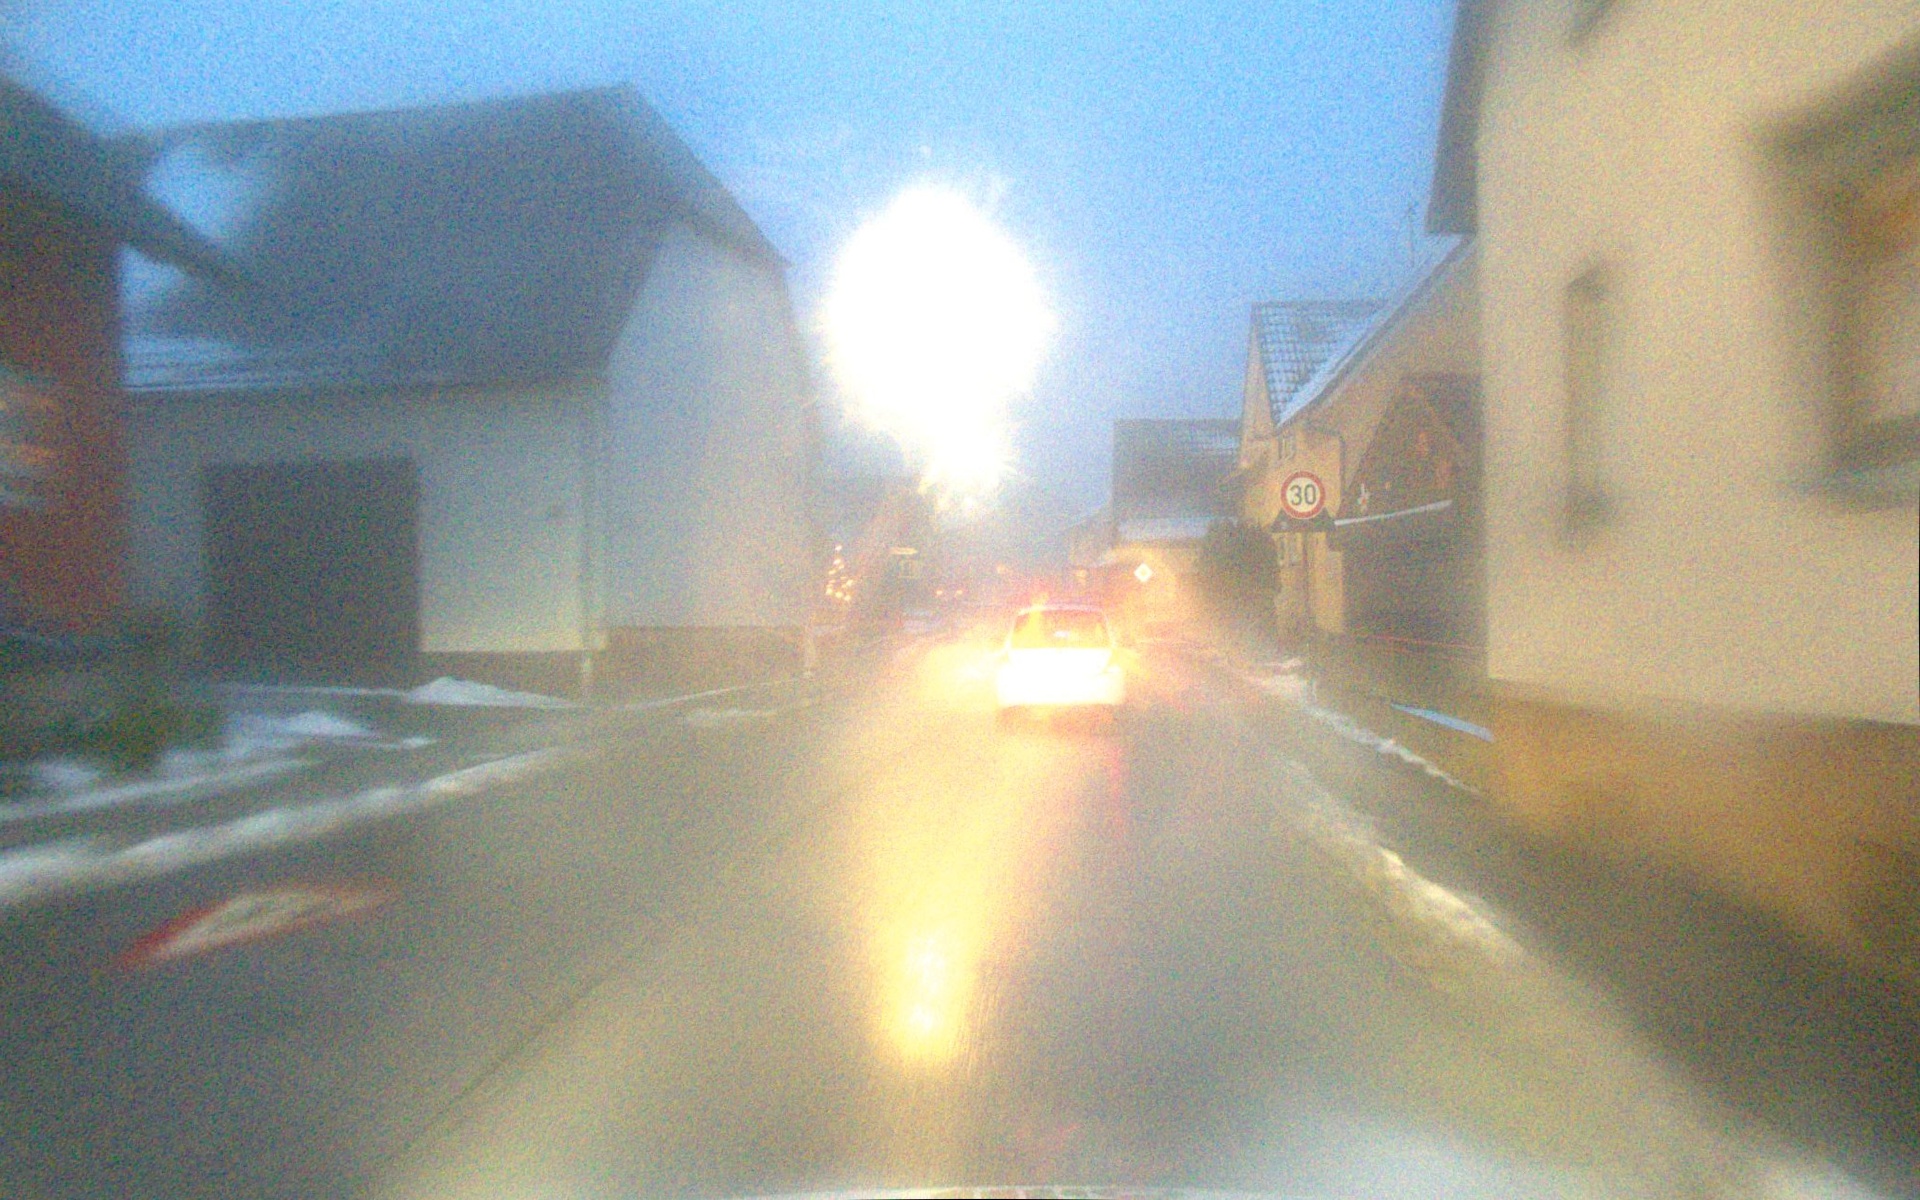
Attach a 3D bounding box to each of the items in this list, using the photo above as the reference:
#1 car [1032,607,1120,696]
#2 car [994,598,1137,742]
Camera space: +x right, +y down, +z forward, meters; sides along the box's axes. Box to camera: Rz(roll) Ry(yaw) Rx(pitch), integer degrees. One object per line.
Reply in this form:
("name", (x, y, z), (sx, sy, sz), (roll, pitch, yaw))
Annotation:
("car", (2.277, 0.968, 32.161), (1.610, 1.624, 3.701), (0, -1, 5))
("car", (1.346, 0.819, 20.604), (1.610, 1.624, 3.701), (0, -1, 5))
